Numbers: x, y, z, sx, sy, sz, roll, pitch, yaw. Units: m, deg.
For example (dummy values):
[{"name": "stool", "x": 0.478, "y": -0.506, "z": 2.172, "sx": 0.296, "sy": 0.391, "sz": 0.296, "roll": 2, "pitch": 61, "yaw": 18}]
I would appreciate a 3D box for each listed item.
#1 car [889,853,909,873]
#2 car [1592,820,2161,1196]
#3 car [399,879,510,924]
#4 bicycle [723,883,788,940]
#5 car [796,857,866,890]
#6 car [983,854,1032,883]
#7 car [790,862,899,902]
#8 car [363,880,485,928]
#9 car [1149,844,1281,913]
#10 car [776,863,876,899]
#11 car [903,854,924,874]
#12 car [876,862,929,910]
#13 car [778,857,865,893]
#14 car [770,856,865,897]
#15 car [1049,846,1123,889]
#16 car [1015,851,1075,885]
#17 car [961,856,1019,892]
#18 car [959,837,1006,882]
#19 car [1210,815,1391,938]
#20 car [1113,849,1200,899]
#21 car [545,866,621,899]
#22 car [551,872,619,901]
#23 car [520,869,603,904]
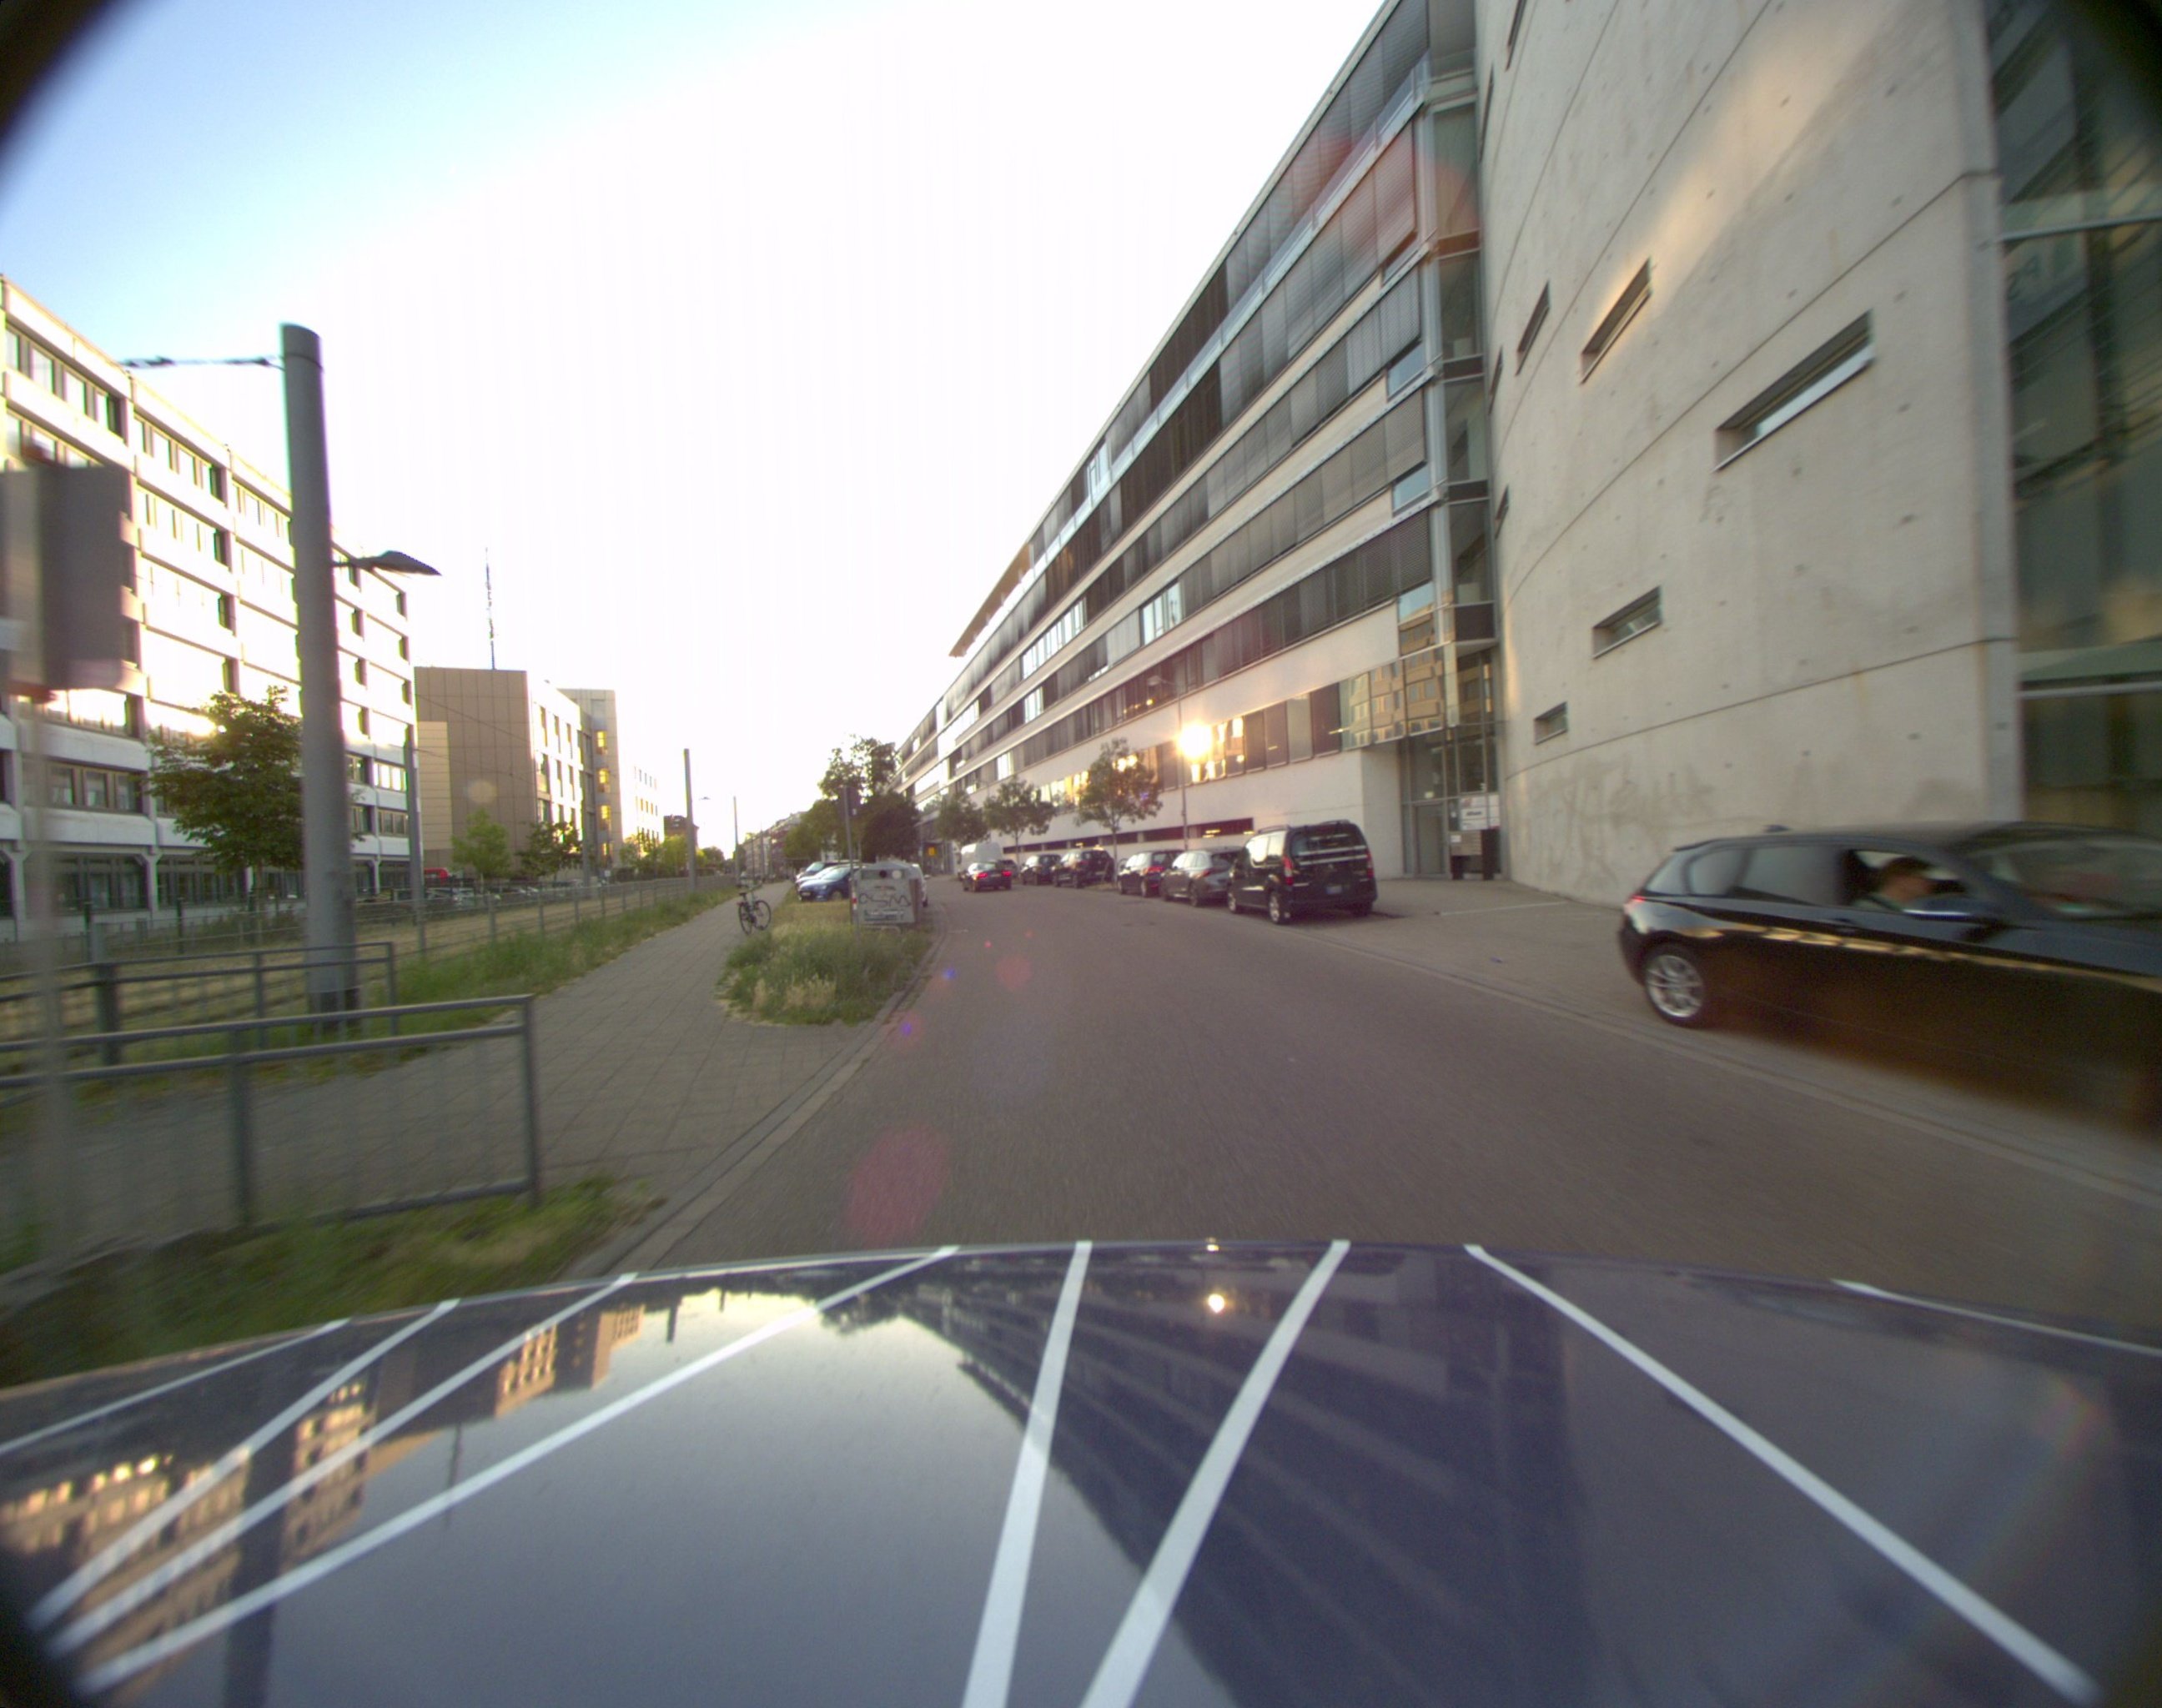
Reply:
[{"name": "car", "x": -24.325, "y": 1.206, "z": 101.407, "sx": 2.002, "sy": 2.570, "sz": 3.993, "roll": -3, "pitch": 0, "yaw": -22}, {"name": "car", "x": 5.201, "y": 0.599, "z": 4.052, "sx": 1.858, "sy": 1.433, "sz": 4.227, "roll": -5, "pitch": 0, "yaw": -3}, {"name": "car", "x": -33.024, "y": 2.453, "z": 40.201, "sx": 4.004, "sy": 2.002, "sz": 1.997, "roll": -3, "pitch": 0, "yaw": -22}, {"name": "bicycle", "x": -7.363, "y": 1.272, "z": 17.278, "sx": 0.542, "sy": 1.128, "sz": 1.925, "roll": -3, "pitch": 0, "yaw": 2}, {"name": "car", "x": -16.748, "y": 1.287, "z": 51.071, "sx": 1.713, "sy": 1.948, "sz": 4.181, "roll": -3, "pitch": 0, "yaw": 35}, {"name": "car", "x": -4.664, "y": 0.900, "z": 47.769, "sx": 1.800, "sy": 1.692, "sz": 3.992, "roll": -2, "pitch": 0, "yaw": -25}, {"name": "car", "x": -9.530, "y": 1.107, "z": 30.905, "sx": 1.713, "sy": 1.368, "sz": 4.007, "roll": -3, "pitch": 0, "yaw": 32}, {"name": "car", "x": -32.232, "y": 2.408, "z": 37.429, "sx": 4.004, "sy": 2.002, "sz": 1.997, "roll": -3, "pitch": 0, "yaw": -22}, {"name": "car", "x": 3.378, "y": 0.597, "z": 20.153, "sx": 1.866, "sy": 1.468, "sz": 4.516, "roll": -5, "pitch": 0, "yaw": -10}, {"name": "car", "x": -11.456, "y": 1.180, "z": 34.347, "sx": 1.713, "sy": 1.368, "sz": 4.007, "roll": -3, "pitch": 0, "yaw": 32}, {"name": "car", "x": -19.337, "y": 1.183, "z": 87.522, "sx": 2.001, "sy": 2.001, "sz": 3.996, "roll": -3, "pitch": -2, "yaw": -16}, {"name": "car", "x": -6.278, "y": 1.088, "z": 26.791, "sx": 1.632, "sy": 1.503, "sz": 3.414, "roll": -3, "pitch": 0, "yaw": -13}, {"name": "car", "x": -13.538, "y": 1.096, "z": 39.823, "sx": 1.713, "sy": 1.634, "sz": 4.007, "roll": -3, "pitch": 0, "yaw": 35}, {"name": "car", "x": -12.739, "y": 1.080, "z": 36.927, "sx": 1.713, "sy": 1.746, "sz": 4.007, "roll": -3, "pitch": 0, "yaw": 35}, {"name": "car", "x": 0.136, "y": 0.584, "z": 33.403, "sx": 1.799, "sy": 1.676, "sz": 3.993, "roll": -3, "pitch": 0, "yaw": -22}, {"name": "car", "x": -1.949, "y": 0.713, "z": 39.536, "sx": 1.799, "sy": 1.542, "sz": 3.993, "roll": -5, "pitch": 1, "yaw": -22}, {"name": "car", "x": -4.527, "y": 0.956, "z": 37.252, "sx": 1.861, "sy": 1.489, "sz": 4.668, "roll": -5, "pitch": 1, "yaw": -18}, {"name": "car", "x": -6.971, "y": 0.402, "z": 53.080, "sx": 2.007, "sy": 2.859, "sz": 6.246, "roll": -2, "pitch": 0, "yaw": -19}, {"name": "car", "x": 4.165, "y": 0.398, "z": 15.310, "sx": 1.894, "sy": 1.961, "sz": 4.516, "roll": -5, "pitch": 0, "yaw": -5}, {"name": "car", "x": 2.390, "y": 0.630, "z": 25.018, "sx": 1.654, "sy": 1.468, "sz": 3.762, "roll": -3, "pitch": 0, "yaw": -13}, {"name": "car", "x": -34.277, "y": 1.913, "z": 52.415, "sx": 4.004, "sy": 2.002, "sz": 1.997, "roll": -3, "pitch": 0, "yaw": -22}, {"name": "car", "x": -38.505, "y": 2.508, "z": 59.069, "sx": 4.004, "sy": 2.002, "sz": 1.997, "roll": -3, "pitch": 0, "yaw": -22}, {"name": "car", "x": -33.756, "y": 2.072, "z": 49.509, "sx": 4.004, "sy": 2.002, "sz": 1.997, "roll": -3, "pitch": 0, "yaw": -22}]
